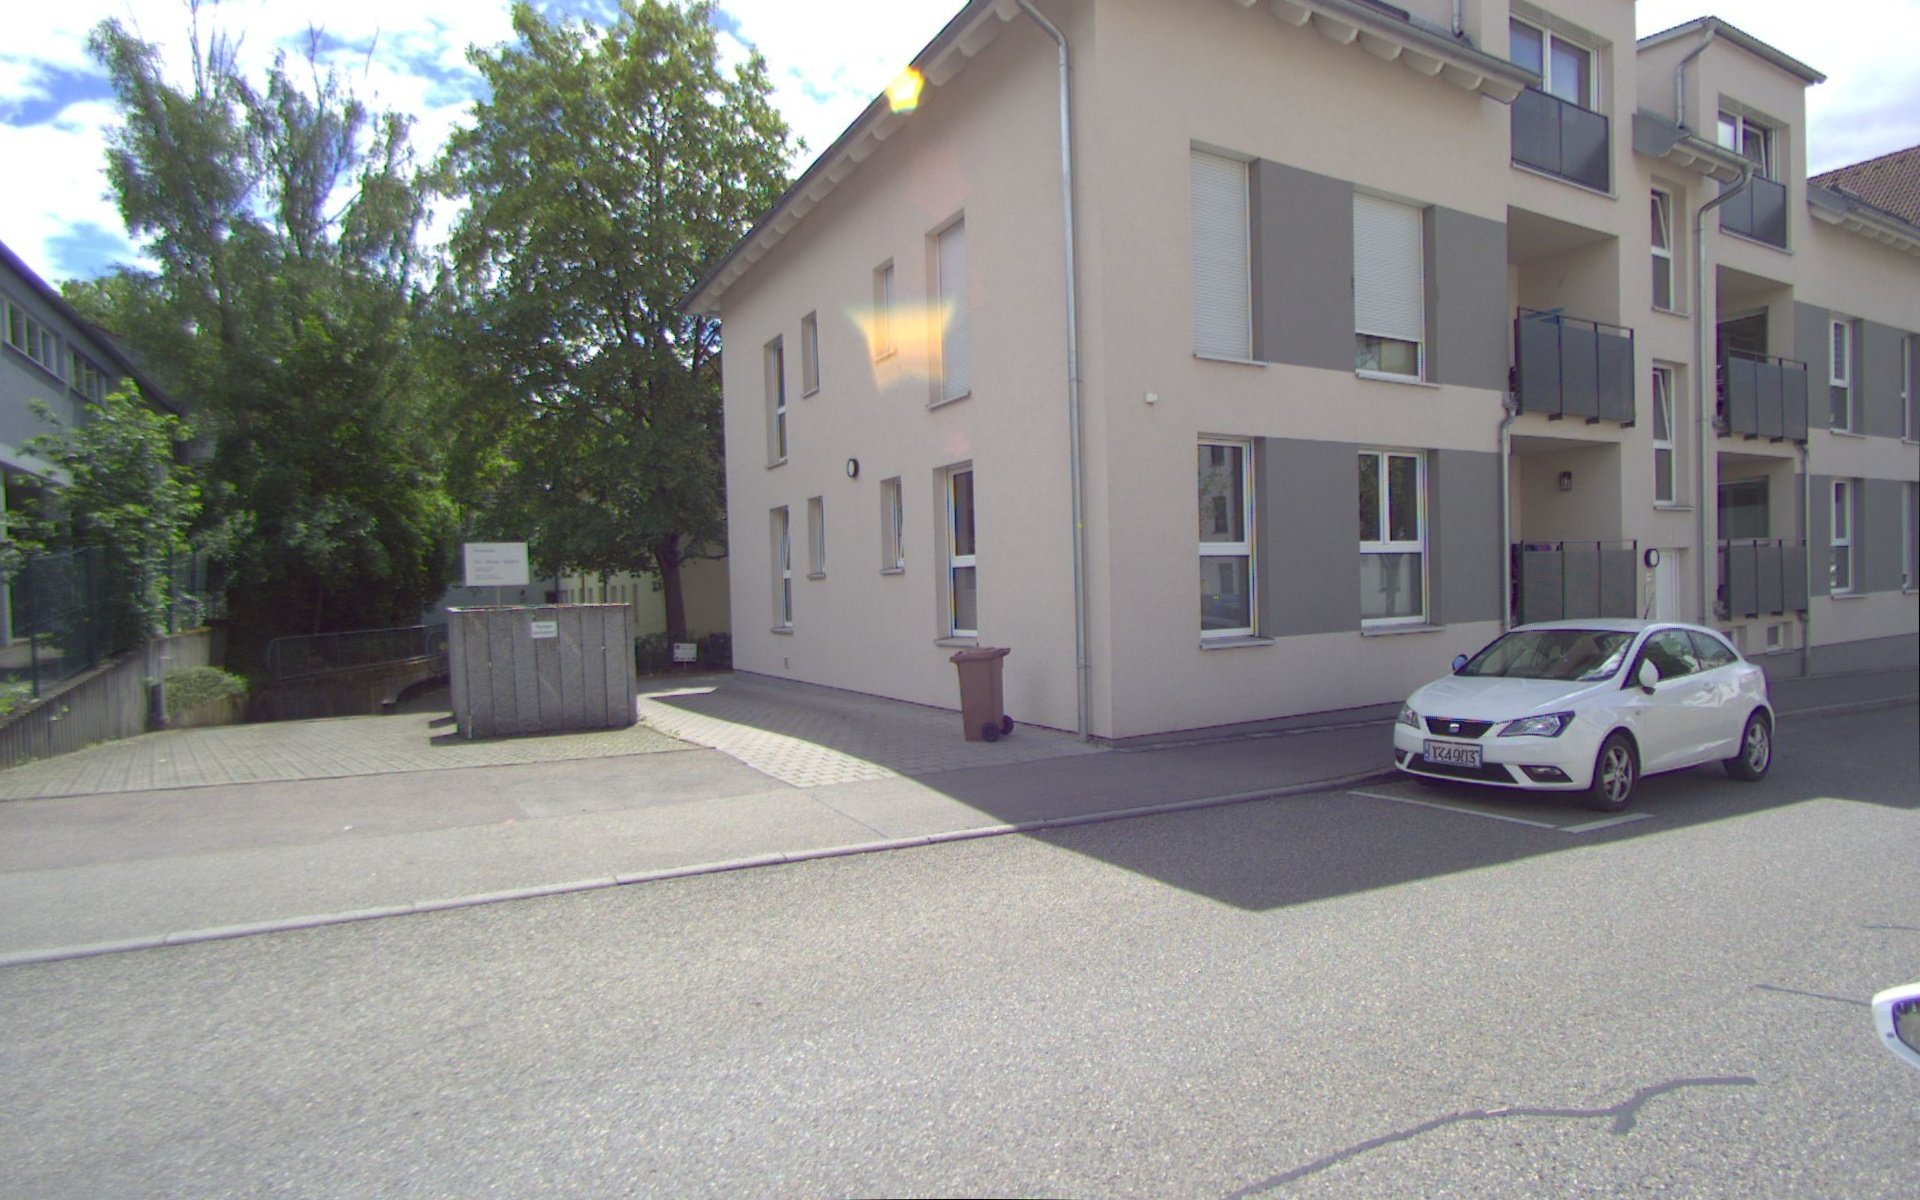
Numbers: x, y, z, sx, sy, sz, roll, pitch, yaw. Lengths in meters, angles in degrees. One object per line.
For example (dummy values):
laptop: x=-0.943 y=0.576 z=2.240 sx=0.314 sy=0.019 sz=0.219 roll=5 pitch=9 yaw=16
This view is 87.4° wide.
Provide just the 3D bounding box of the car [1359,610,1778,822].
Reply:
car: x=5.323 y=0.827 z=8.695 sx=3.657 sy=1.438 sz=1.638 roll=0 pitch=1 yaw=-32

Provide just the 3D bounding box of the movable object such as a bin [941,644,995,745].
movable object such as a bin: x=0.079 y=0.935 z=10.082 sx=0.387 sy=0.966 sz=0.411 roll=0 pitch=0 yaw=-33
